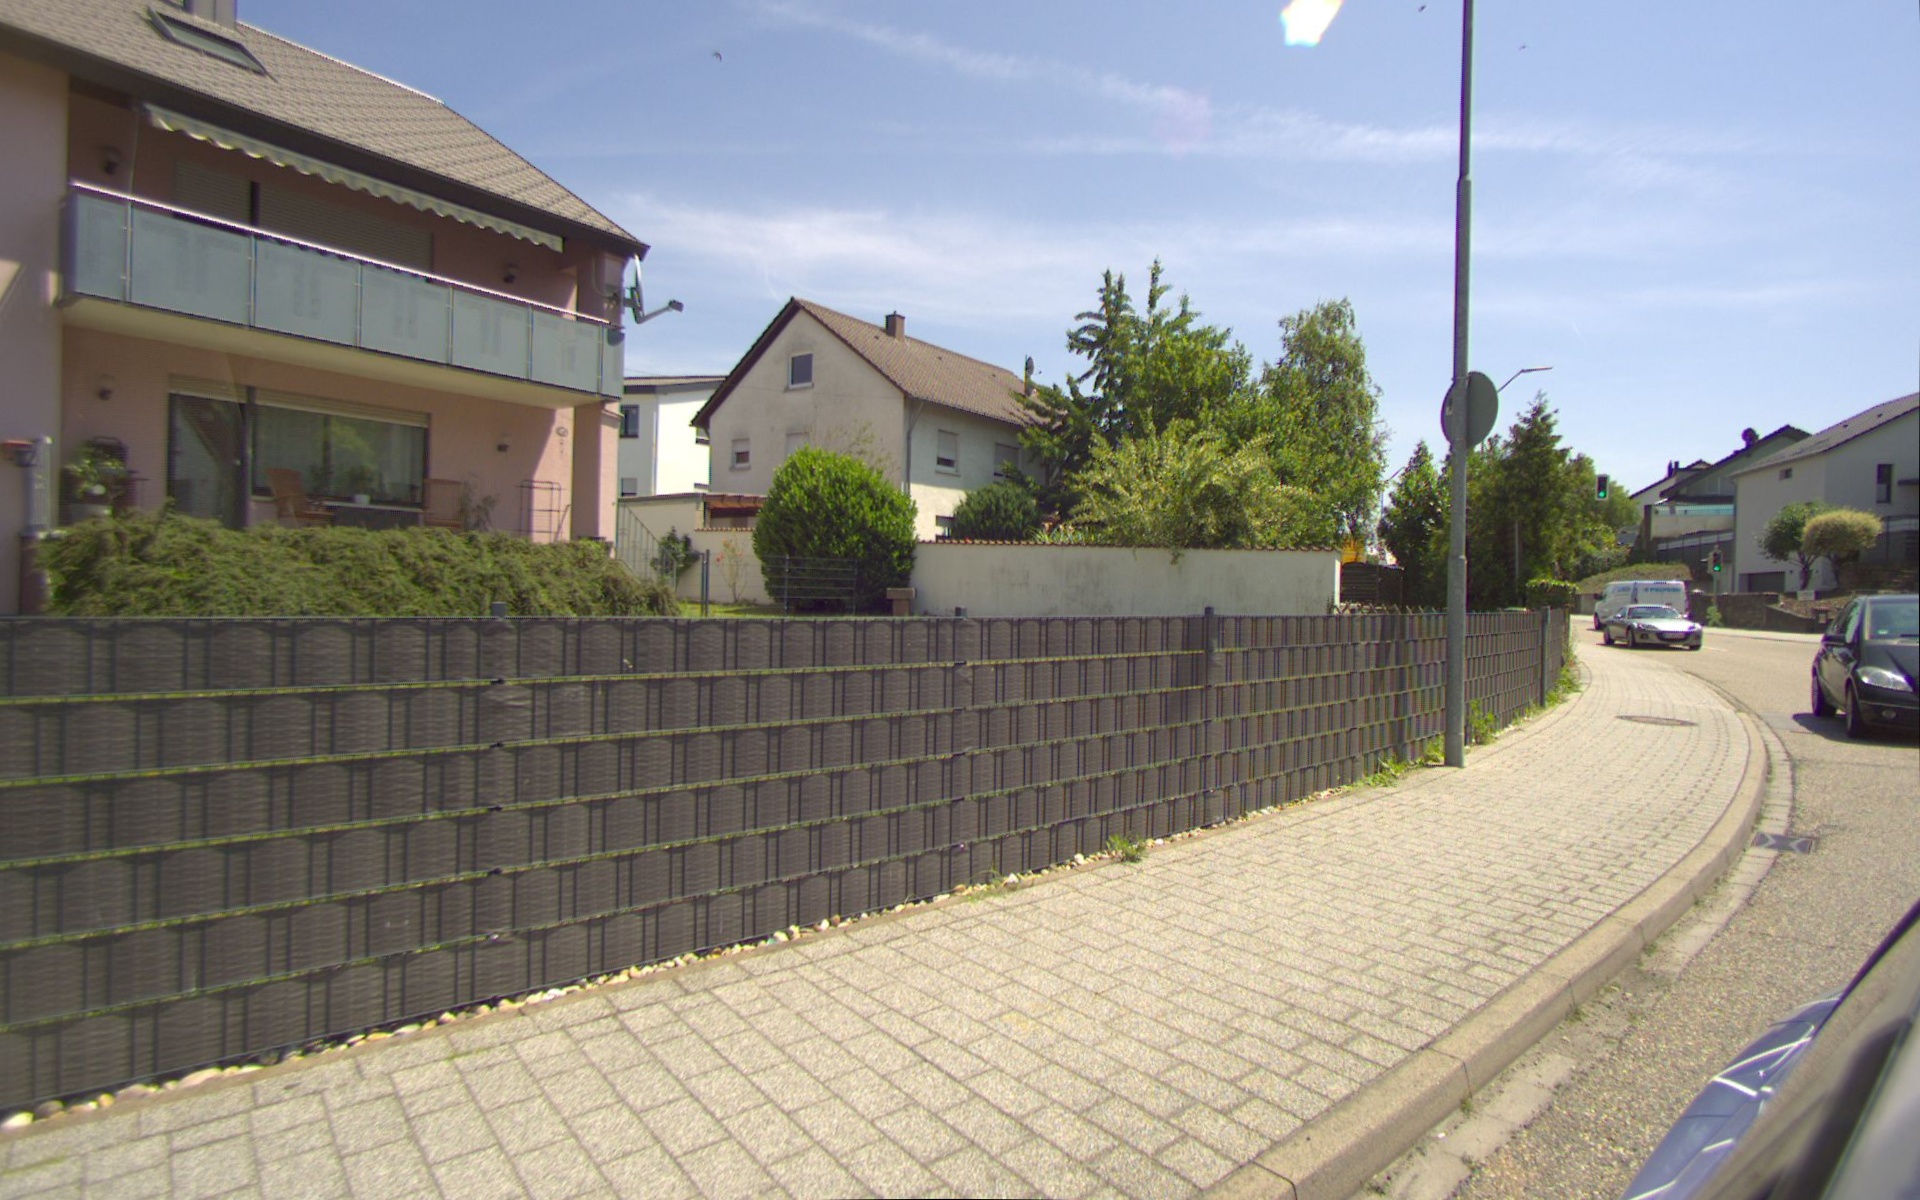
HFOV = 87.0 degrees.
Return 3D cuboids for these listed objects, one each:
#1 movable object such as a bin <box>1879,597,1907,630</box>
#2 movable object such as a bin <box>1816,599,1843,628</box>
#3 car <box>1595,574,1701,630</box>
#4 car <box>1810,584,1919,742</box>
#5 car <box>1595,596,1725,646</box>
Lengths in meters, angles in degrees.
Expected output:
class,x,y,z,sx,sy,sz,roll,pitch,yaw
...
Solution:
class,x,y,z,sx,sy,sz,roll,pitch,yaw
movable object such as a bin,31.528,0.449,34.199,0.466,1.068,0.631,0,0,17
movable object such as a bin,29.878,0.454,34.781,0.495,0.960,0.551,0,0,17
car,26.767,0.013,39.604,1.973,2.024,5.186,-1,1,17
car,11.311,0.619,11.762,1.753,1.612,4.147,0,1,34
car,20.340,0.567,29.610,1.788,1.331,3.983,1,1,13
